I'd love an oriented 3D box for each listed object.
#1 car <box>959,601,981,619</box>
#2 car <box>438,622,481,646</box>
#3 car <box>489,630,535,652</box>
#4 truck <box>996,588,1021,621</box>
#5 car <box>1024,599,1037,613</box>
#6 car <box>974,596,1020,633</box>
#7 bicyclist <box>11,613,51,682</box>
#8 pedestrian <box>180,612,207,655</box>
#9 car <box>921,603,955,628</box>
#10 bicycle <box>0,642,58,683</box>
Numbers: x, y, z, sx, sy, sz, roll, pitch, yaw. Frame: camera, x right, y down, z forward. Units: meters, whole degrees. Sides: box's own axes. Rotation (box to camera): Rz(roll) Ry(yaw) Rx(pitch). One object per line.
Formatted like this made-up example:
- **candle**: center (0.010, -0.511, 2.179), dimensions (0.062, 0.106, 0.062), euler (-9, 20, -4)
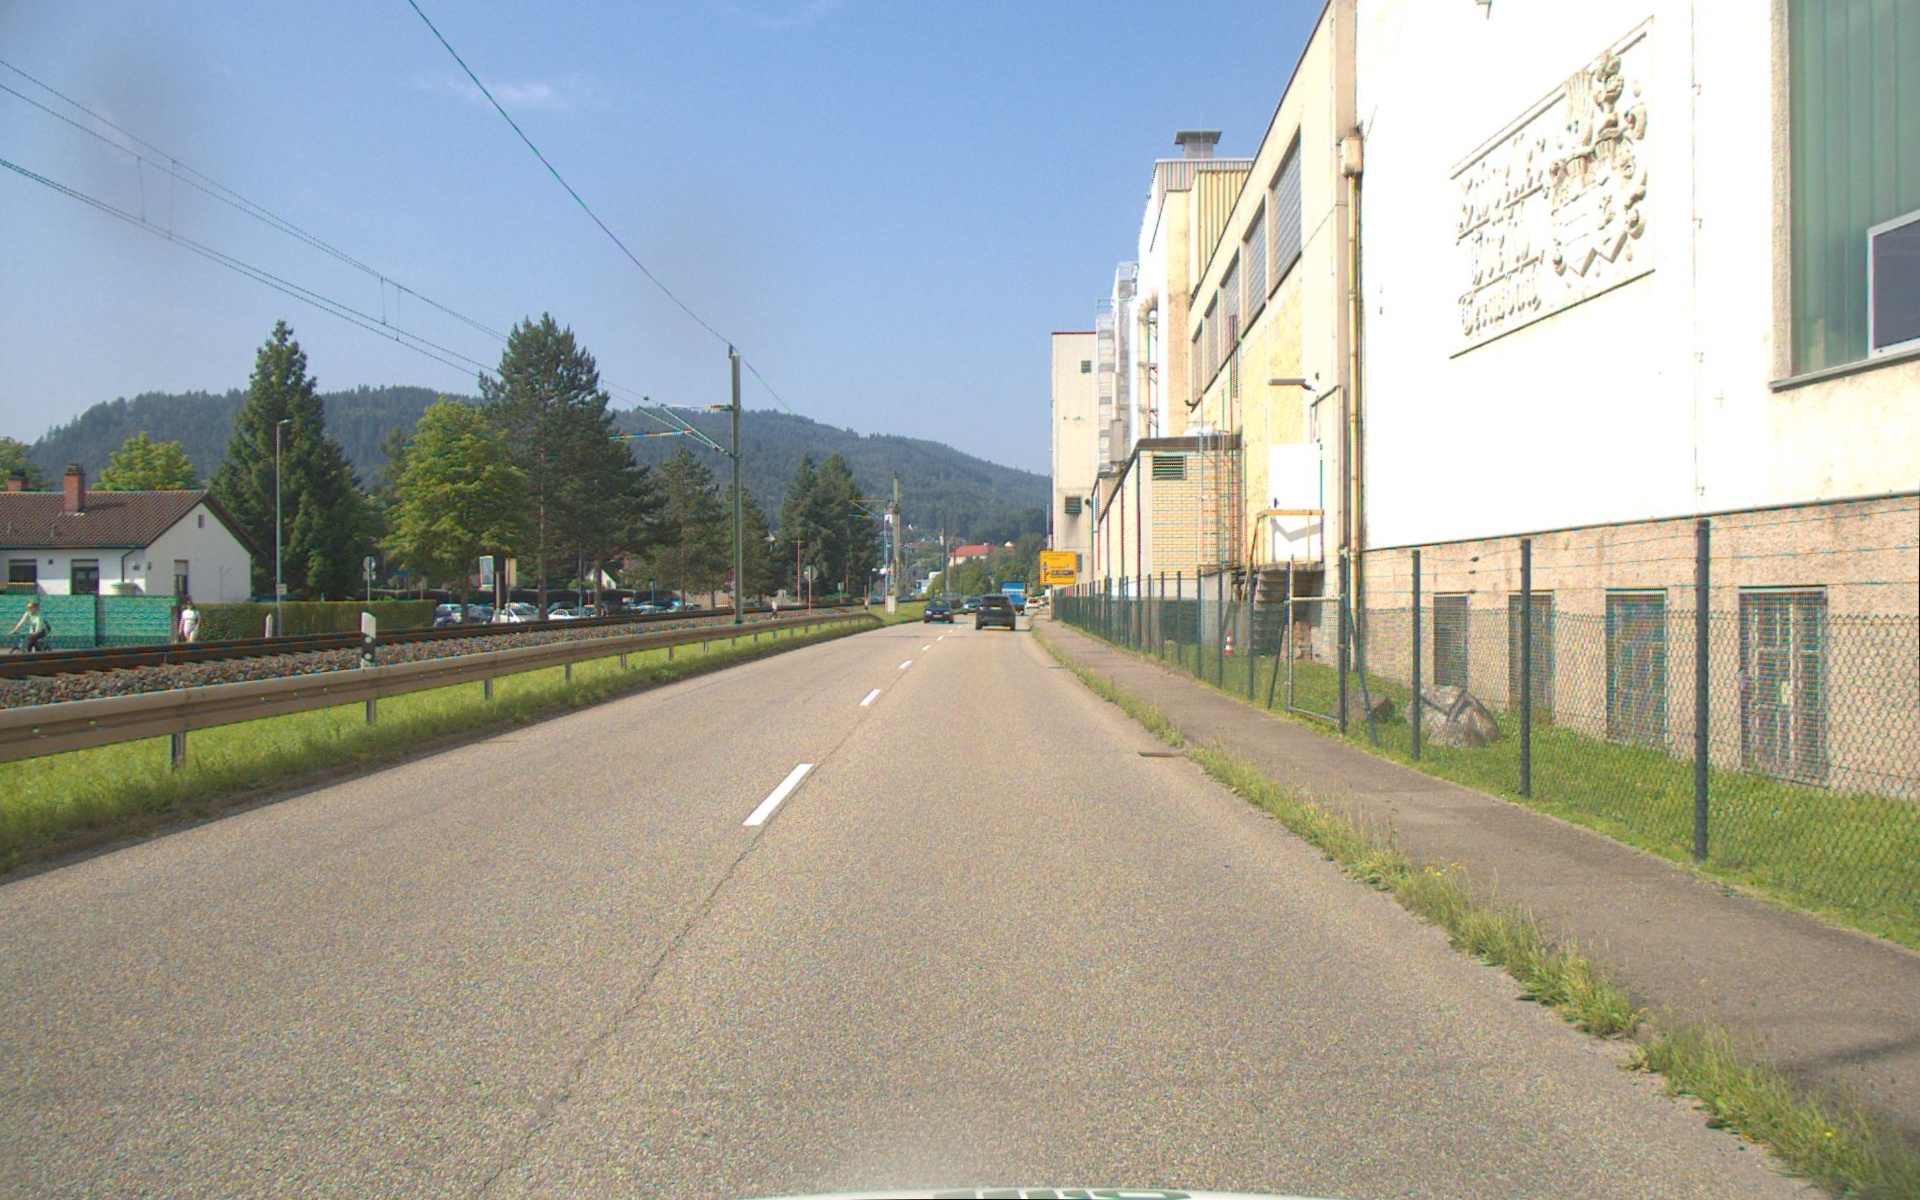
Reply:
- **car**: center (0.940, 0.976, 153.237), dimensions (1.867, 1.628, 4.571), euler (0, -1, 2)
- **car**: center (-37.100, 2.507, 122.502), dimensions (1.673, 1.671, 3.795), euler (0, -1, -41)
- **car**: center (-31.516, 2.895, 116.307), dimensions (1.673, 1.469, 3.795), euler (-1, 0, -41)
- **truck**: center (4.500, 0.367, 155.290), dimensions (2.265, 3.022, 5.966), euler (0, 0, 1)
- **car**: center (9.529, 0.821, 223.300), dimensions (1.632, 1.855, 3.753), euler (0, 0, 4)
- **car**: center (1.754, 0.662, 77.665), dimensions (1.879, 1.668, 4.002), euler (0, 0, 5)
- **bicyclist**: center (-22.921, 1.167, 40.822), dimensions (0.522, 1.675, 0.831), euler (-1, 0, -3)
- **pedestrian**: center (-24.102, 1.051, 51.999), dimensions (0.562, 1.355, 0.673), euler (-1, 0, -6)
- **car**: center (-1.303, 0.926, 99.499), dimensions (1.727, 1.427, 4.122), euler (0, 0, 4)
- **bicycle**: center (-22.909, 1.538, 40.708), dimensions (0.534, 0.939, 1.709), euler (-1, 0, -3)
